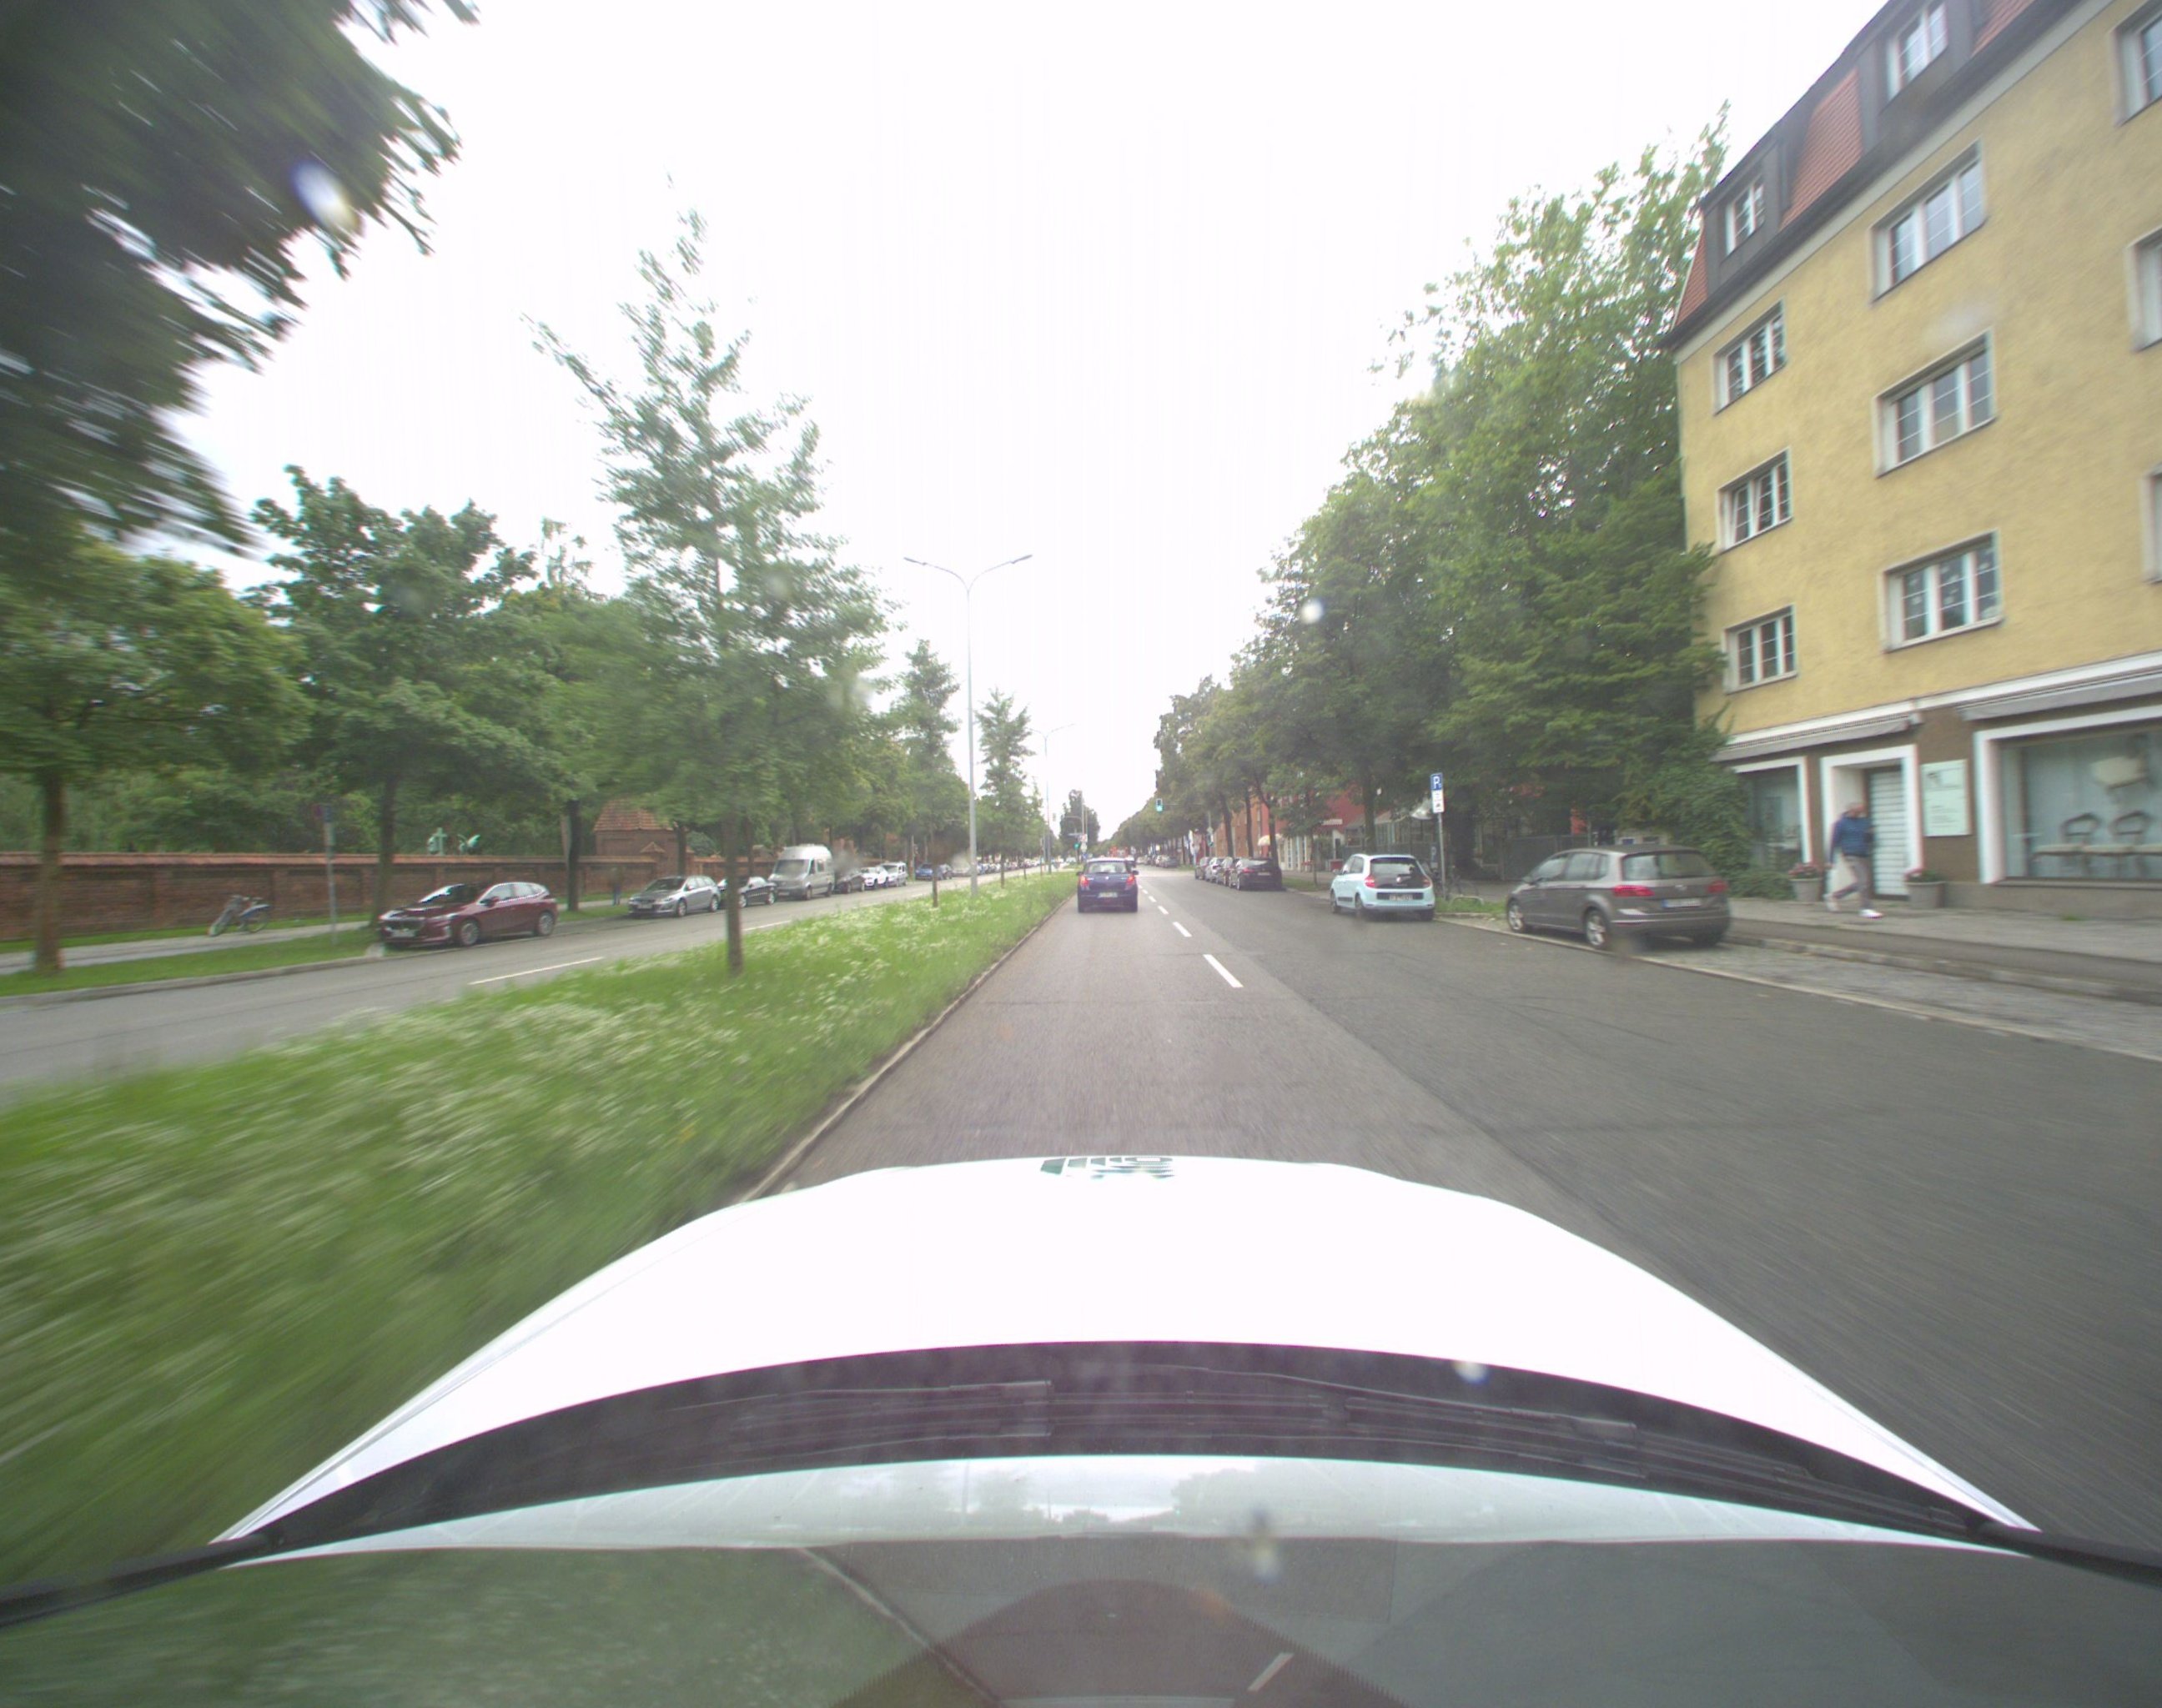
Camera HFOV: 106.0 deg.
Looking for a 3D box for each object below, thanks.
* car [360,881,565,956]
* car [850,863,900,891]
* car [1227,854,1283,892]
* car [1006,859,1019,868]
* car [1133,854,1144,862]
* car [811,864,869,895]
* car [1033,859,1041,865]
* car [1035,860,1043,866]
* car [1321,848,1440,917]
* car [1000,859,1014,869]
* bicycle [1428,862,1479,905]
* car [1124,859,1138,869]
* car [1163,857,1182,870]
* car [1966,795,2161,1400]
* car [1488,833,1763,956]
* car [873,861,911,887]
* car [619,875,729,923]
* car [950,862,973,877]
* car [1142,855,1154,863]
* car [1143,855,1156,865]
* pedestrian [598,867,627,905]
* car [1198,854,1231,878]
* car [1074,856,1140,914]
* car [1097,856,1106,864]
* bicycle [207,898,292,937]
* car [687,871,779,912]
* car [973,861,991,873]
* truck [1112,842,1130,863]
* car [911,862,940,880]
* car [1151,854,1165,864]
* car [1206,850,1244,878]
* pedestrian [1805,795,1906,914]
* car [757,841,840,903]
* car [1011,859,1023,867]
[{"bbox_3d":[-15.380,1.529,20.601,1.807,1.536,4.299,-1,0,1],"label":"car"},{"bbox_3d":[-13.766,1.525,54.694,2.179,1.736,4.576,-1,0,-1],"label":"car"},{"bbox_3d":[7.699,0.794,36.447,1.647,1.452,4.712,-3,0,3],"label":"car"},{"bbox_3d":[-12.308,1.677,146.773,1.795,1.534,4.002,-2,0,2],"label":"car"},{"bbox_3d":[11.796,0.841,166.698,1.986,1.530,4.002,-2,0,2],"label":"car"},{"bbox_3d":[-14.590,1.495,49.642,2.179,1.736,4.576,-1,0,-1],"label":"car"},{"bbox_3d":[-11.583,2.094,215.051,1.795,1.534,4.002,-2,0,2],"label":"car"},{"bbox_3d":[-11.352,2.488,222.534,1.795,1.534,4.002,-2,0,2],"label":"car"},{"bbox_3d":[7.157,0.615,19.855,1.646,1.452,4.005,-3,0,4],"label":"car"},{"bbox_3d":[-12.405,1.660,136.897,1.795,1.534,4.002,-2,0,2],"label":"car"},{"bbox_3d":[9.103,0.707,19.947,0.446,0.980,1.799,-2,0,2],"label":"bicycle"},{"bbox_3d":[7.075,1.393,114.961,1.814,1.477,4.692,0,0,2],"label":"car"},{"bbox_3d":[11.467,1.164,102.407,1.986,1.530,4.002,-2,0,2],"label":"car"},{"bbox_3d":[3.469,0.590,0.720,1.681,1.490,3.435,-1,0,1],"label":"car"},{"bbox_3d":[8.710,0.561,13.578,1.808,1.626,4.311,-3,0,3],"label":"car"},{"bbox_3d":[-13.988,1.458,60.364,1.700,1.734,4.002,-2,0,2],"label":"car"},{"bbox_3d":[-15.055,1.606,30.425,1.807,1.536,4.442,-1,0,1],"label":"car"},{"bbox_3d":[-13.422,1.690,91.651,1.795,1.534,4.002,-2,0,2],"label":"car"},{"bbox_3d":[12.133,0.897,148.450,1.986,1.530,4.002,-2,0,2],"label":"car"},{"bbox_3d":[12.075,1.046,143.578,1.986,1.530,4.002,-2,0,2],"label":"car"},{"bbox_3d":[-20.062,1.379,34.890,0.766,1.567,0.800,-2,0,38],"label":"pedestrian"},{"bbox_3d":[8.475,0.736,51.995,1.688,1.452,4.127,-2,0,4],"label":"car"},{"bbox_3d":[0.803,0.831,23.935,1.746,1.505,4.003,-2,0,3],"label":"car"},{"bbox_3d":[3.874,1.123,153.817,1.712,1.500,4.302,-1,0,2],"label":"car"},{"bbox_3d":[-22.730,1.724,22.301,0.653,0.936,1.619,-2,0,-1],"label":"bicycle"},{"bbox_3d":[-15.081,1.569,35.592,1.807,1.536,4.820,-1,0,1],"label":"car"},{"bbox_3d":[-13.115,1.690,108.325,1.795,1.534,4.002,-1,0,2],"label":"car"},{"bbox_3d":[7.231,-0.326,146.714,3.029,3.557,13.684,-1,0,3],"label":"truck"},{"bbox_3d":[-14.083,1.542,74.045,1.700,1.534,4.002,-2,0,2],"label":"car"},{"bbox_3d":[12.365,0.779,131.209,1.986,1.530,4.002,-2,0,2],"label":"car"},{"bbox_3d":[8.185,0.561,46.585,1.688,1.452,4.127,-2,0,4],"label":"car"},{"bbox_3d":[12.675,0.006,13.352,0.790,1.855,0.776,-4,0,-1],"label":"pedestrian"},{"bbox_3d":[-14.676,0.873,42.792,2.179,2.954,6.190,-1,0,0],"label":"car"},{"bbox_3d":[-12.680,1.741,161.865,1.795,1.534,4.002,-2,0,2],"label":"car"}]
